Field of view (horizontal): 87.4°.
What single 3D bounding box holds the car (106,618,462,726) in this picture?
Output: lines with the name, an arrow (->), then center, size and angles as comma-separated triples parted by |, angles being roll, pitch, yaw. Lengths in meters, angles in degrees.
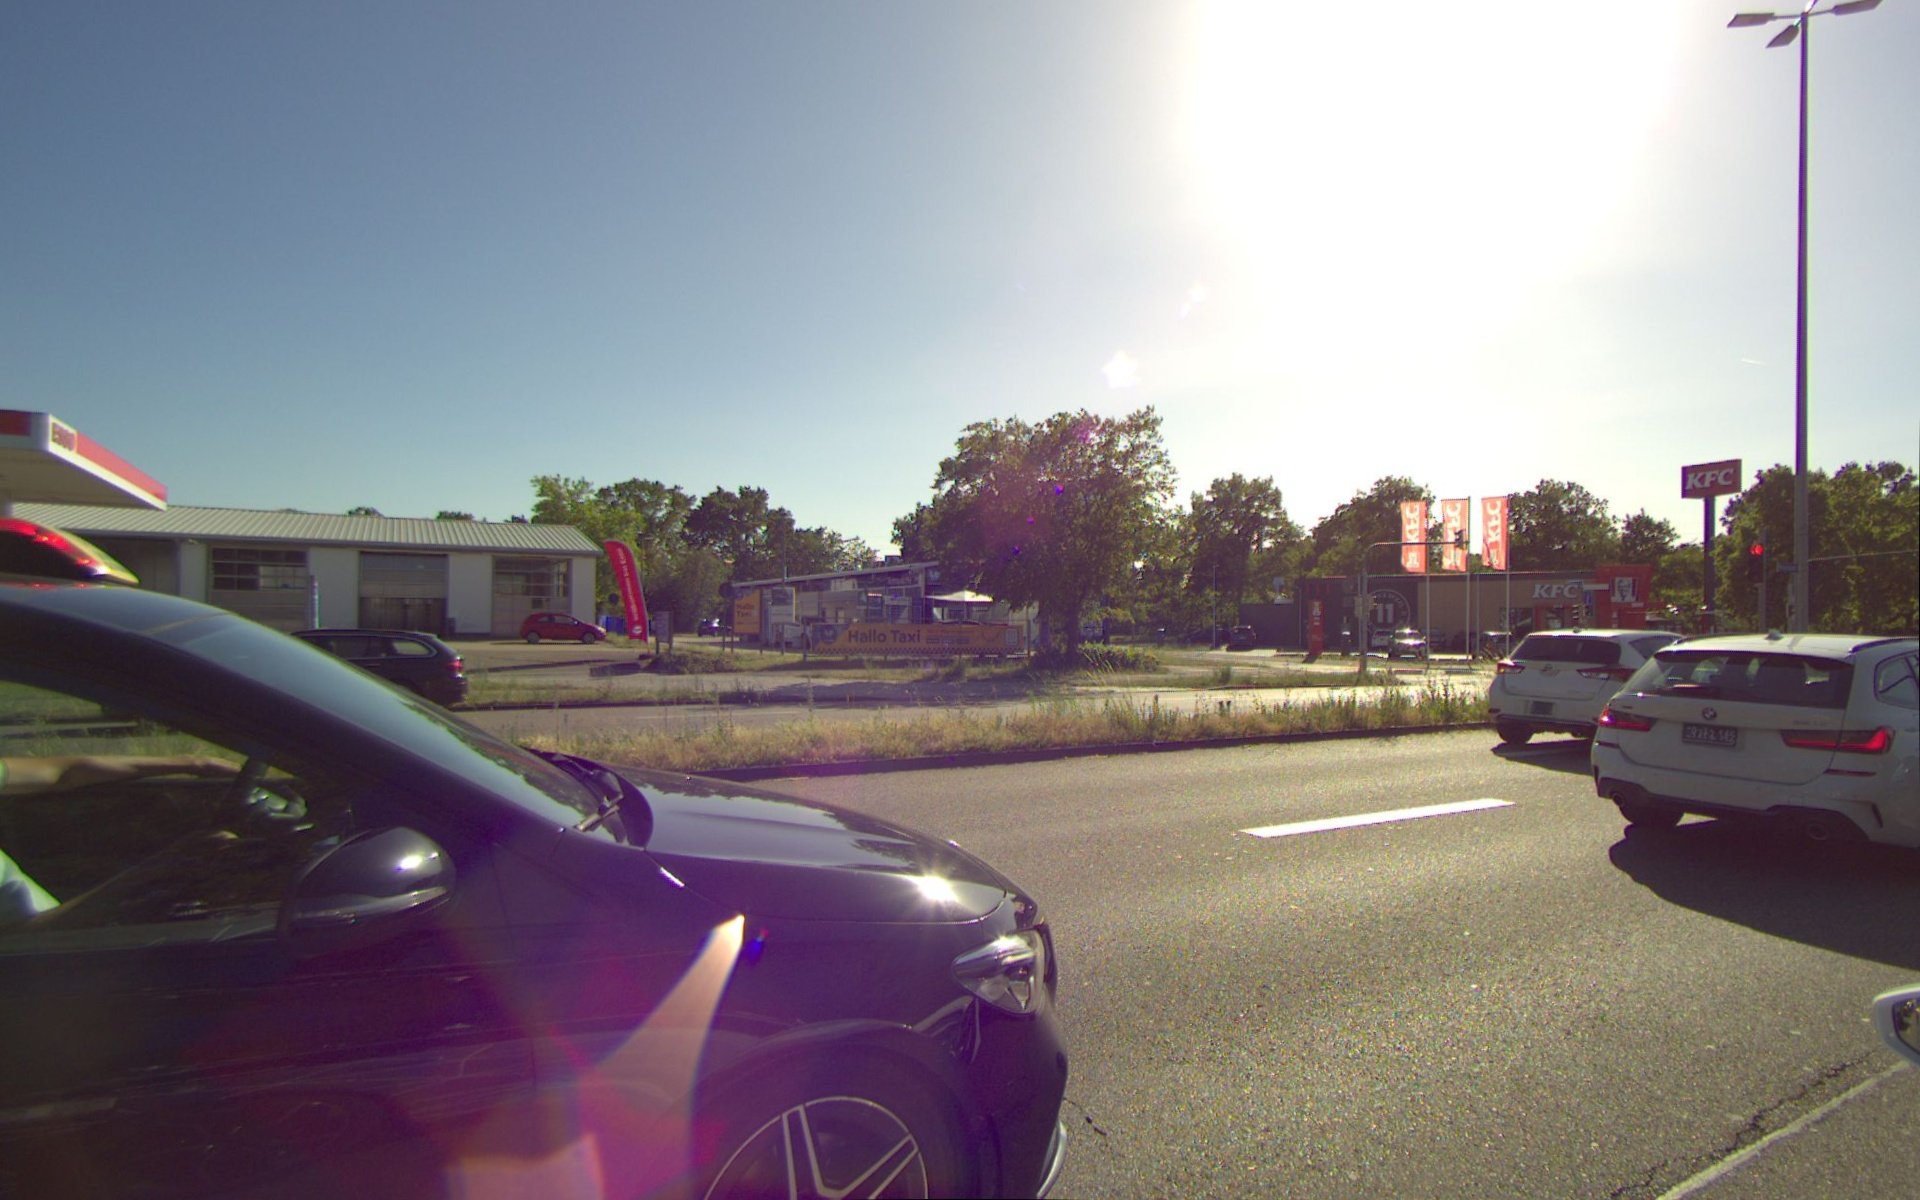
car -> -10.436, 1.129, 15.943 | 4.426, 1.509, 1.751 | 2, -5, -30

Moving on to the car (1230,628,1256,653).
car -> 20.989, 2.957, 74.451 | 1.629, 1.695, 3.945 | 2, 0, 18

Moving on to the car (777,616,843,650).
car -> -7.878, 1.720, 52.570 | 1.979, 1.584, 3.964 | 2, 0, -32

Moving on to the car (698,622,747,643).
car -> -20.502, 2.812, 86.863 | 3.930, 1.634, 1.996 | 2, 0, -11

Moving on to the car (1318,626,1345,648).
car -> 27.035, 2.680, 73.098 | 1.629, 1.491, 3.919 | 2, 0, 18

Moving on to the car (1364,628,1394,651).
car -> 30.230, 2.829, 72.605 | 1.629, 1.491, 3.919 | 2, 0, 18

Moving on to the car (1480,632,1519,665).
car -> 32.021, 2.830, 59.587 | 1.880, 1.776, 4.349 | 2, 0, 29

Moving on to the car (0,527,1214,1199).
car -> -1.744, 0.657, 1.880 | 4.353, 1.510, 1.750 | 2, -1, -31

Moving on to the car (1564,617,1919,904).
car -> 6.524, 0.961, 7.356 | 4.353, 1.510, 1.776 | 2, 0, -31

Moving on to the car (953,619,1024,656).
car -> 1.337, 1.791, 48.935 | 1.839, 1.613, 3.974 | 2, 0, -26

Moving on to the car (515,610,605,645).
car -> -19.405, 1.323, 48.778 | 3.946, 1.536, 1.772 | 2, 0, -25

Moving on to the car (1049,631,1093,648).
car -> 10.174, 3.609, 92.178 | 3.864, 1.481, 1.663 | 0, -1, 14

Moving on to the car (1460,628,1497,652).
car -> 35.981, 2.774, 69.829 | 1.629, 1.491, 3.919 | 2, 0, 18

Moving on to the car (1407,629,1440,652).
car -> 32.863, 2.851, 71.333 | 1.629, 1.491, 3.919 | 2, 0, 18

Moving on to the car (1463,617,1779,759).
car -> 8.482, 1.048, 12.802 | 4.150, 1.510, 1.750 | 2, 0, -31

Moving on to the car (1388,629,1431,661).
car -> 27.276, 2.672, 60.904 | 1.964, 1.788, 4.349 | 2, 0, 29

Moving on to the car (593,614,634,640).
car -> -20.423, 1.556, 59.089 | 1.634, 1.383, 3.744 | 2, 0, -29
